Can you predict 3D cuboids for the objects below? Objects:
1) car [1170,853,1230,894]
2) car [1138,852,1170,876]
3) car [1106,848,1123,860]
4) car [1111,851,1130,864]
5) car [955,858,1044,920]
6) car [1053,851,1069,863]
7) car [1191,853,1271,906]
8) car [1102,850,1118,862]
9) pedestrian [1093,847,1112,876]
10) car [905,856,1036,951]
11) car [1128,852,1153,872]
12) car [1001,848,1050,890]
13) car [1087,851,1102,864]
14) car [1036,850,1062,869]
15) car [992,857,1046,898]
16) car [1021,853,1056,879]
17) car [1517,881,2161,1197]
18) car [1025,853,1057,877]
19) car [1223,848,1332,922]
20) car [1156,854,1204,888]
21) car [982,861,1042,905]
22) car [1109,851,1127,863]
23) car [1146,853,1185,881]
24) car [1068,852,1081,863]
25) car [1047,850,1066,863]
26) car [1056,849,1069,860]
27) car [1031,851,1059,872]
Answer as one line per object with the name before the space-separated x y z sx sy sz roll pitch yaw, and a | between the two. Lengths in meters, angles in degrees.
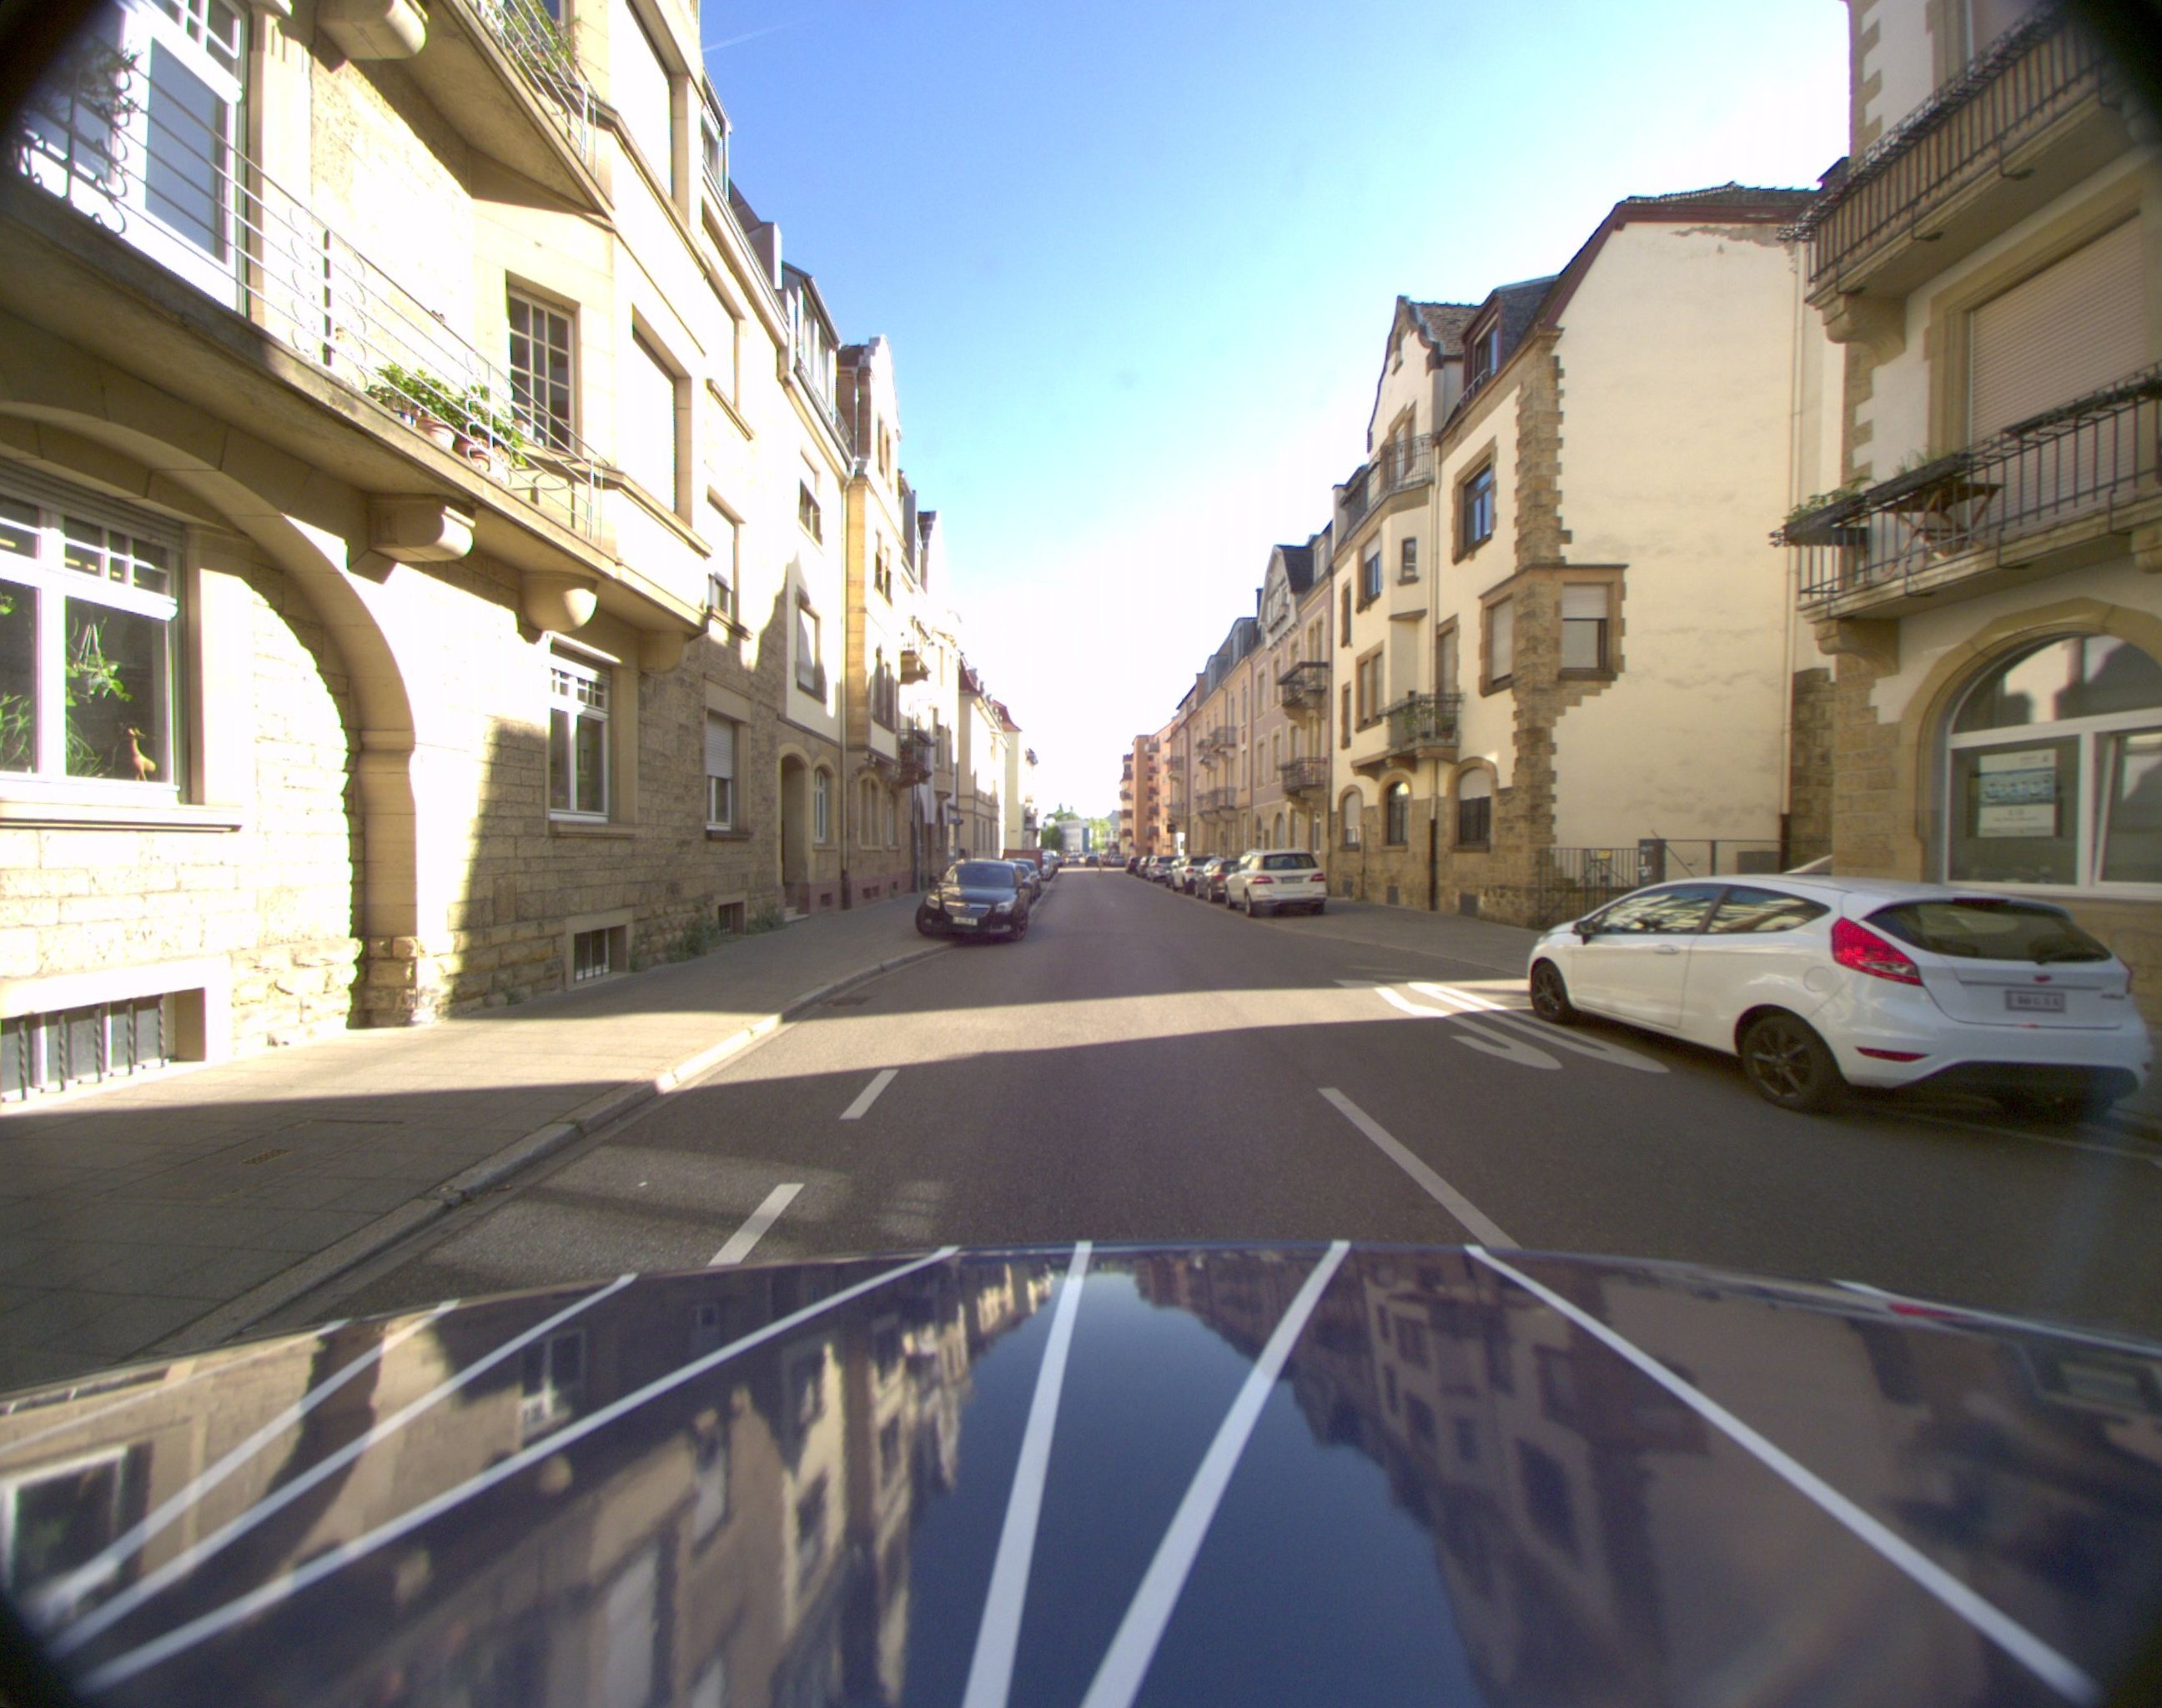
car | 4.988 0.787 32.360 1.890 1.500 4.320 -2 1 1
car | 4.995 0.659 52.345 1.809 1.500 4.003 -2 1 1
car | 4.522 -0.011 101.951 2.005 1.500 4.320 1 1 -1
car | 4.677 0.396 91.385 2.005 1.500 4.320 1 1 -1
car | -2.094 0.868 20.794 2.005 1.499 4.321 1 0 -1
car | -2.579 0.418 99.947 2.005 1.500 4.320 1 1 -1
car | 5.126 0.813 26.539 1.890 1.500 4.320 -4 1 1
car | 4.116 0.274 107.245 2.005 1.500 4.320 1 1 -1
pedestrian | 1.563 0.516 54.745 0.950 2.002 1.068 -2 1 27
car | -2.034 0.865 15.251 2.024 1.500 4.111 2 1 -1
car | 4.897 0.631 62.967 1.793 1.500 4.320 -2 1 1
car | -2.556 0.643 35.804 2.005 1.828 4.320 1 1 -1
car | 1.614 0.359 89.644 1.656 1.449 3.642 0 1 -1
car | -2.668 0.442 64.493 2.005 1.500 4.320 1 1 -1
car | -2.381 0.884 30.114 1.824 1.415 4.320 1 1 -1
car | -2.649 0.709 47.861 2.005 1.500 4.320 1 1 -1
car | 5.114 1.009 5.679 1.656 1.449 3.643 2 0 2
car | -2.745 0.729 52.635 2.005 1.500 4.320 1 1 -1
car | 5.198 0.745 20.690 1.890 1.717 4.211 -2 1 1
car | 4.859 0.809 37.800 1.857 1.491 4.318 -2 1 1
car | -2.230 0.920 25.372 1.661 1.272 3.729 1 1 -1
car | 4.627 0.379 96.200 2.005 1.500 4.320 1 1 -1
car | 5.024 0.725 45.826 1.890 1.500 4.320 -2 1 1
car | -1.008 0.497 116.673 2.005 1.500 4.320 1 1 -1
car | -2.840 0.255 88.973 2.005 1.500 4.320 1 1 -1
car | -2.937 0.054 123.330 2.005 1.722 4.320 1 1 -1
car | -2.741 0.527 58.660 2.005 1.500 4.320 1 1 -1
